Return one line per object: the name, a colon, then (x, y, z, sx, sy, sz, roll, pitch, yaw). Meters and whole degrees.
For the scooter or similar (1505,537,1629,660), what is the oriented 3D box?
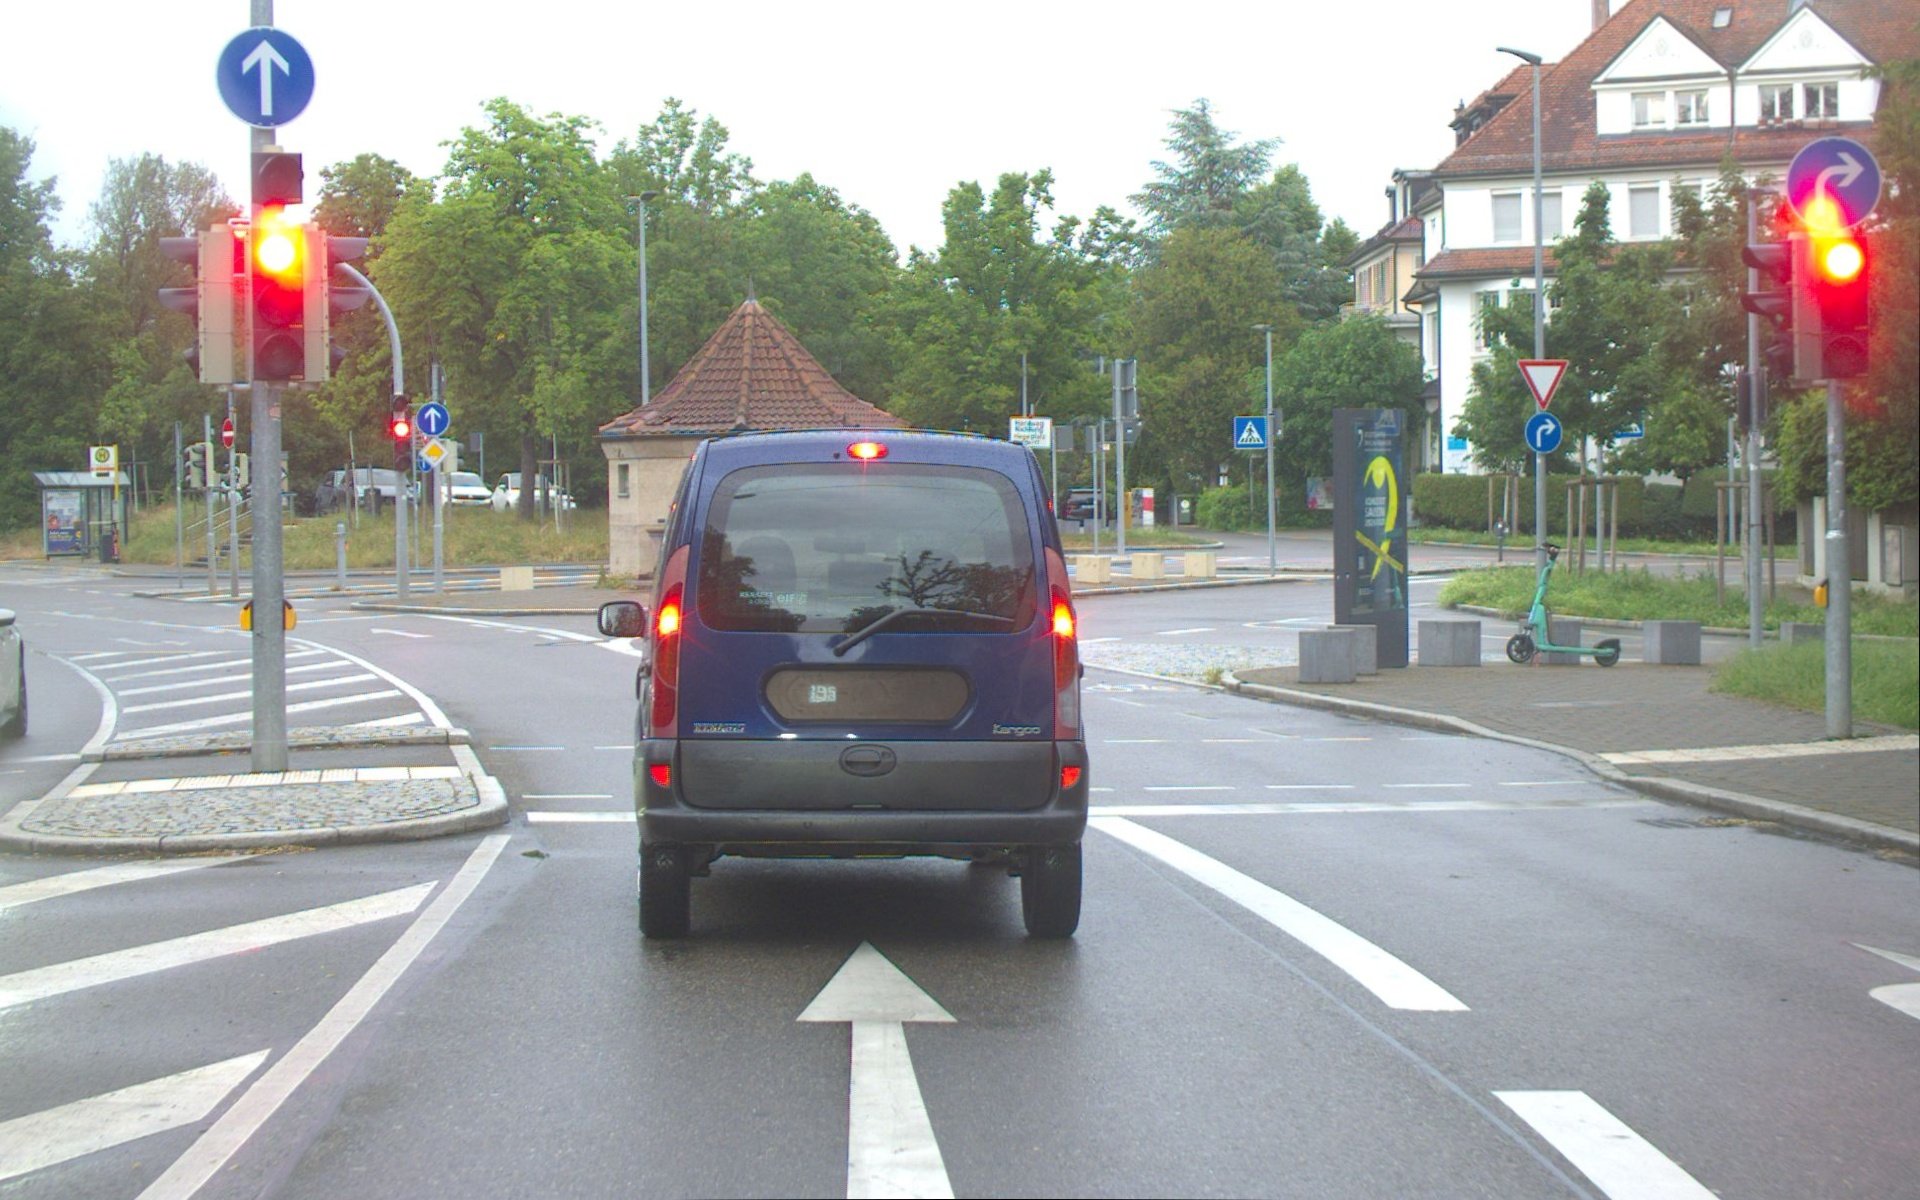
scooter or similar: (6.068, -0.014, 34.376, 1.149, 1.214, 0.406, 0, 0, -2)

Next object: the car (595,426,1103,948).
car: (-0.498, 0.247, 13.760, 1.731, 1.780, 4.001, 0, 1, -3)

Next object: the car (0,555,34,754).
car: (-7.843, 0.414, 24.660, 1.993, 1.307, 4.361, -3, 2, -12)

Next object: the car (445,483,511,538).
car: (-16.269, -3.009, 116.223, 1.993, 1.806, 4.001, 0, 0, -5)
